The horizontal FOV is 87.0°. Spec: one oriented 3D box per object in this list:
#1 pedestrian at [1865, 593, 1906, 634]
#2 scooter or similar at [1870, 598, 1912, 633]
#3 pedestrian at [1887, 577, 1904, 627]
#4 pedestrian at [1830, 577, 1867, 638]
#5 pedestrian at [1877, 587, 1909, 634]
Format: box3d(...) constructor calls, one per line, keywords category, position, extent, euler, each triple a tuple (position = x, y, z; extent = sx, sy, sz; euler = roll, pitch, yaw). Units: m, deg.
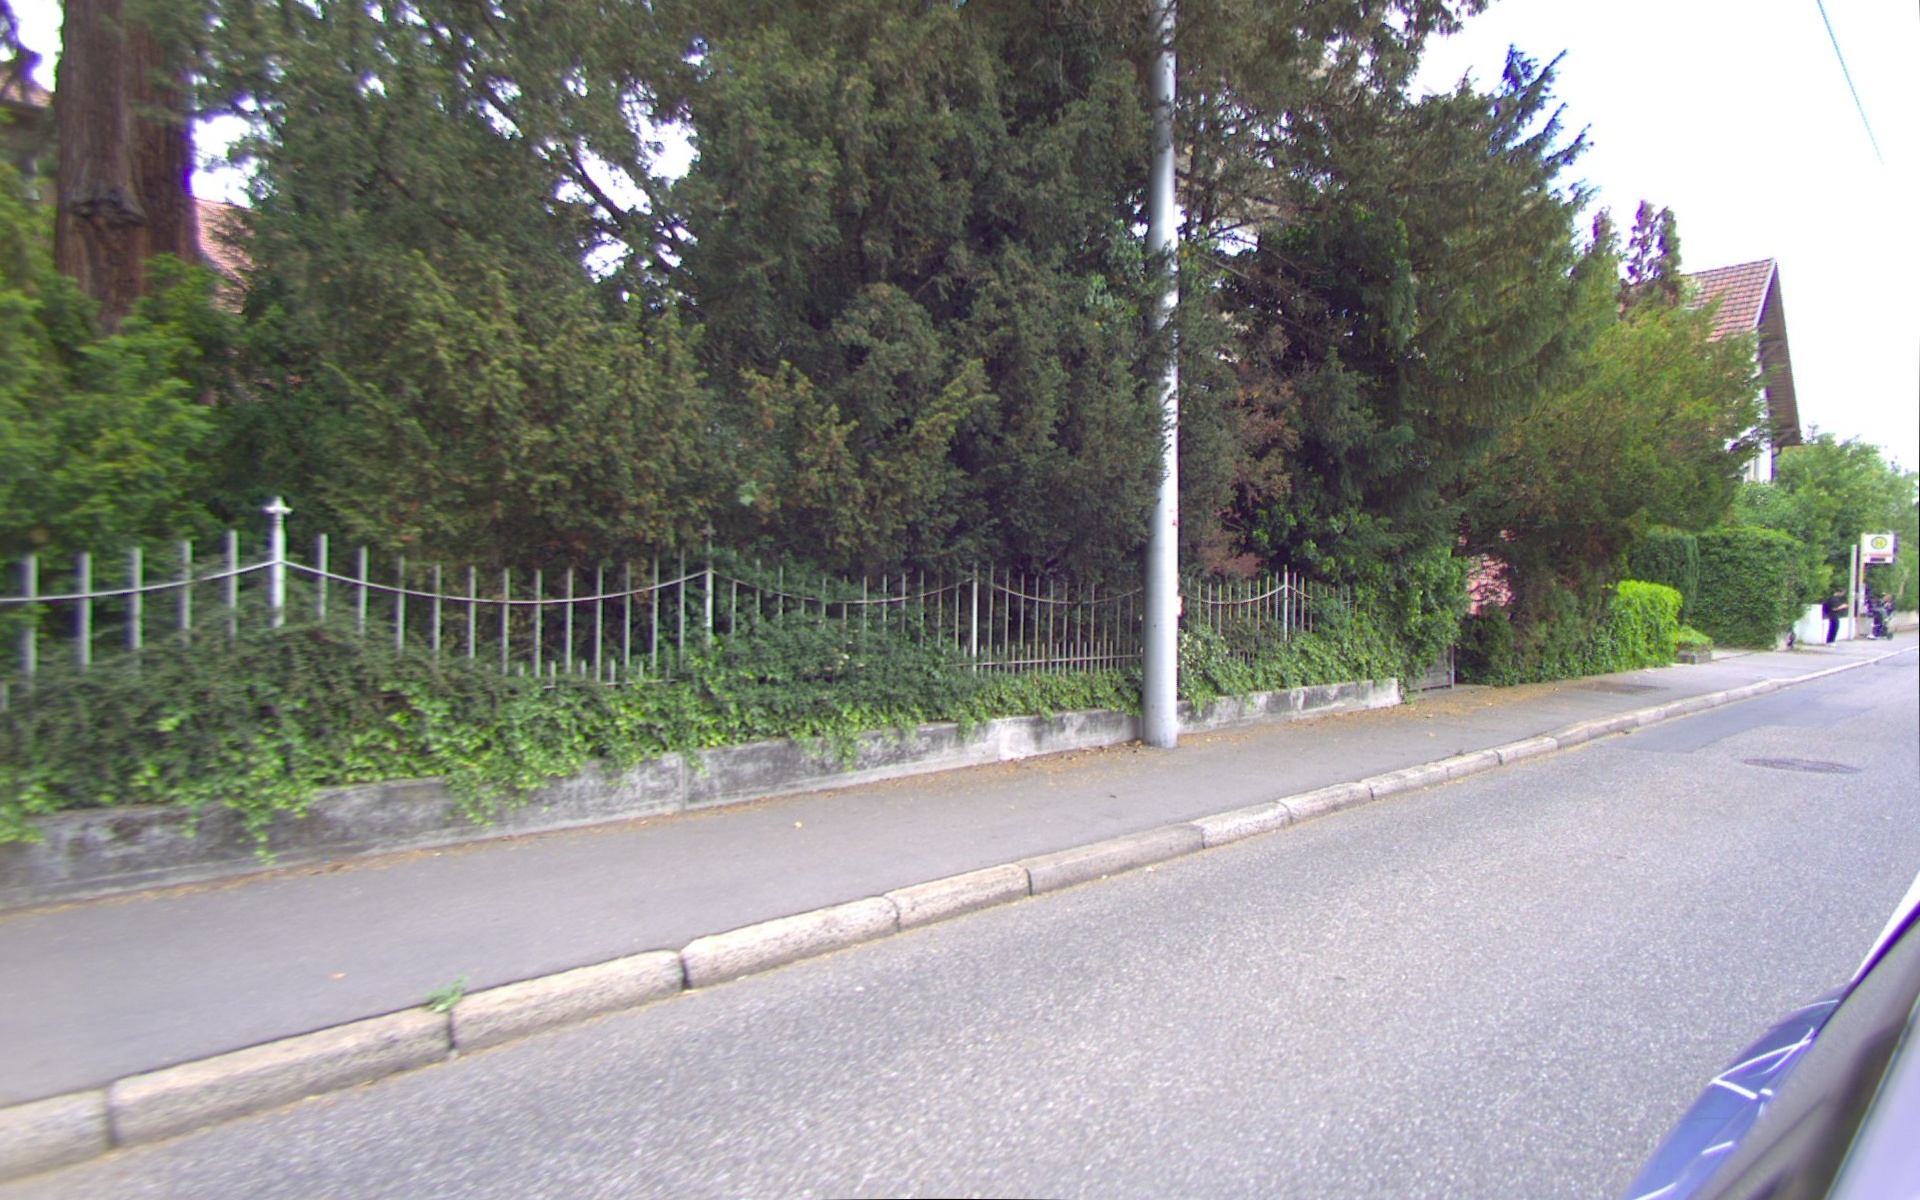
box3d(category="pedestrian", position=(30.985, 0.433, 33.886), extent=(0.914, 1.266, 0.777), euler=(5, 4, 44))
box3d(category="scooter or similar", position=(31.875, 0.536, 34.653), extent=(0.842, 1.110, 0.479), euler=(3, 3, 2))
box3d(category="pedestrian", position=(34.344, 0.066, 37.159), extent=(0.344, 1.776, 0.489), euler=(5, 5, 44))
box3d(category="pedestrian", position=(26.281, 0.221, 29.940), extent=(0.657, 1.789, 0.491), euler=(-1, 0, -9))
box3d(category="pedestrian", position=(32.480, 0.357, 35.235), extent=(0.736, 1.553, 0.661), euler=(-1, 4, -42))
